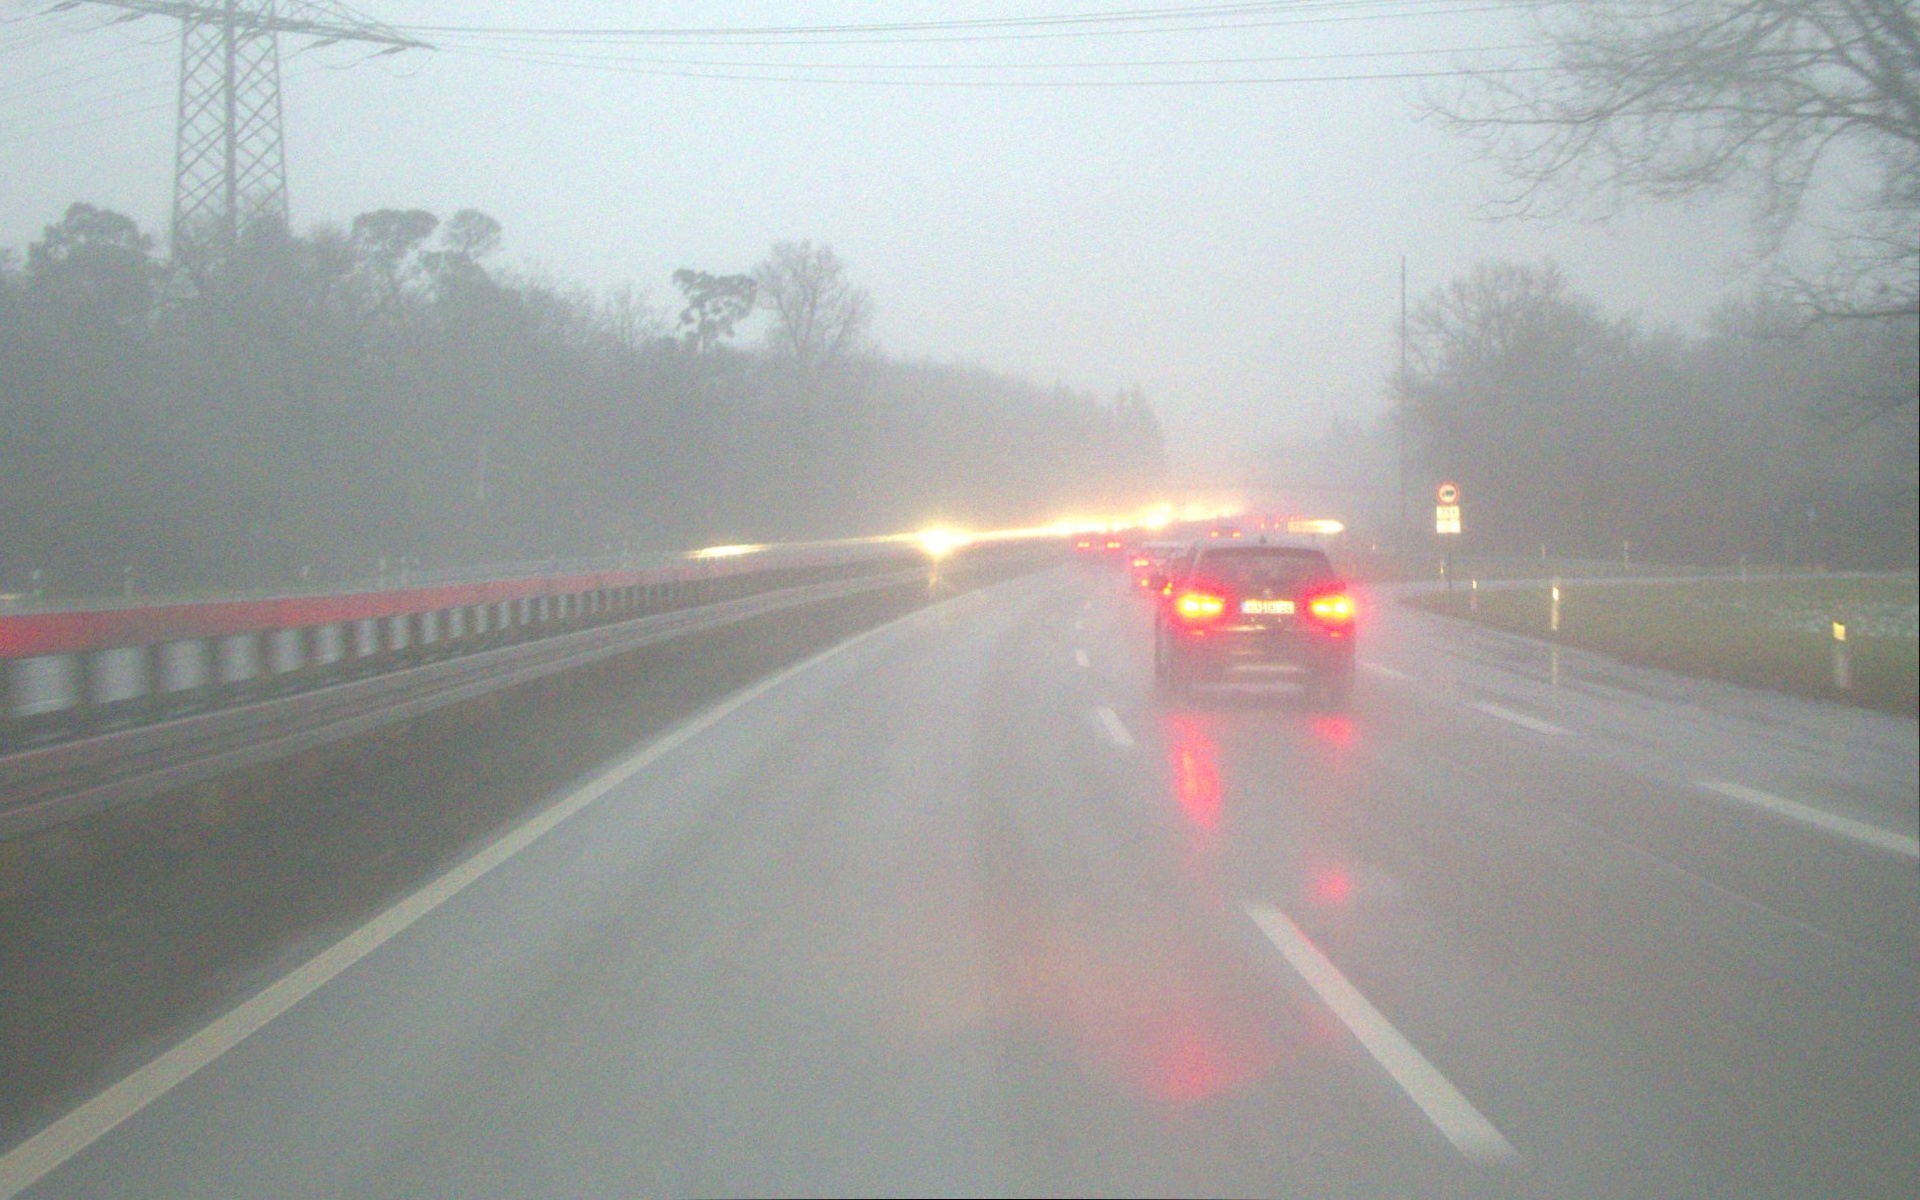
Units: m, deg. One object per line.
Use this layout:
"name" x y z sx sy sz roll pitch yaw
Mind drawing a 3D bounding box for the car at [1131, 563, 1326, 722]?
"car" 2.777 0.405 36.215 1.678 1.503 3.809 0 2 -1
